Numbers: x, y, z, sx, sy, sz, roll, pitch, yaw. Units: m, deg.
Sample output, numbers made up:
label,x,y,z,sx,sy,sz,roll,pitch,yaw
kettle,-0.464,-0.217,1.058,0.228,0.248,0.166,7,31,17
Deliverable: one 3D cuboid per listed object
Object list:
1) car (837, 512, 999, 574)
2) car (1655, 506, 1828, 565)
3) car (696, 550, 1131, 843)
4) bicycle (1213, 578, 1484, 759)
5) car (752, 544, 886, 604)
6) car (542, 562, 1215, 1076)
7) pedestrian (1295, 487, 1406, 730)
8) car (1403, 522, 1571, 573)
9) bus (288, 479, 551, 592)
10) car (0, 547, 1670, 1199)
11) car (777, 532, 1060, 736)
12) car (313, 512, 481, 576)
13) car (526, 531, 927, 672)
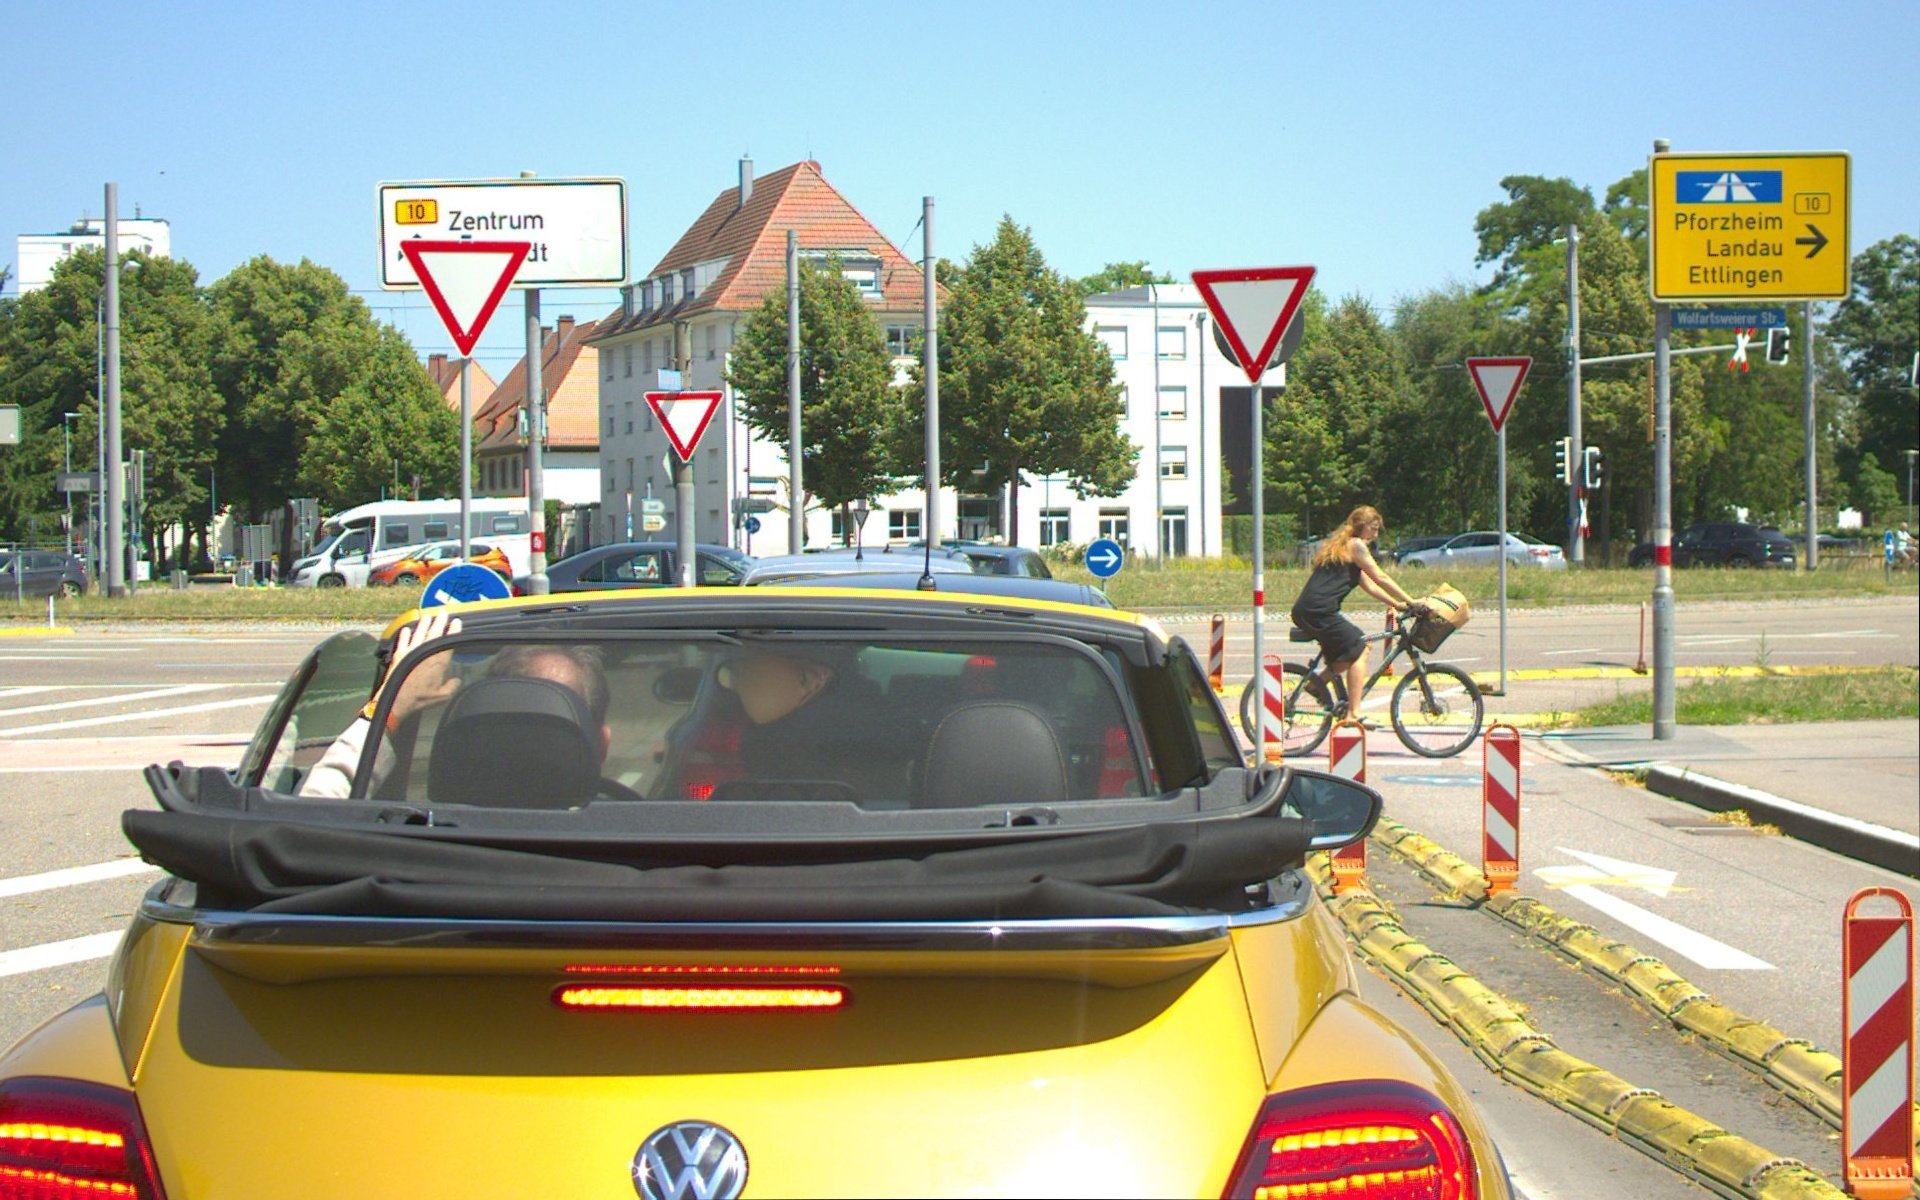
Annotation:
label,x,y,z,sx,sy,sz,roll,pitch,yaw
car,-1.218,-1.667,100.676,4.432,1.730,1.848,1,0,10
car,21.983,-1.815,96.777,4.326,1.608,1.877,1,1,37
car,-0.248,0.441,18.598,2.065,1.377,4.258,1,1,-1
bicycle,2.756,0.480,24.349,1.843,1.227,0.613,-2,0,10
car,-4.305,-0.797,104.714,3.986,1.766,1.787,1,0,-5
car,-0.249,0.586,11.690,1.851,1.361,4.258,-1,1,-1
pedestrian,2.767,0.057,24.331,0.733,1.685,0.575,1,0,9
car,14.852,-1.479,96.976,4.325,1.367,1.749,1,1,35
bus,-15.843,-1.864,100.940,7.251,3.161,2.262,1,0,-24
car,-0.302,0.679,5.105,1.765,1.476,4.258,1,1,-1
car,-0.330,0.208,27.641,2.065,1.476,4.543,-1,1,-1
car,-15.927,-1.586,97.224,4.429,1.730,1.849,1,1,-19
car,-2.706,0.001,40.088,4.332,1.547,1.727,1,0,14
